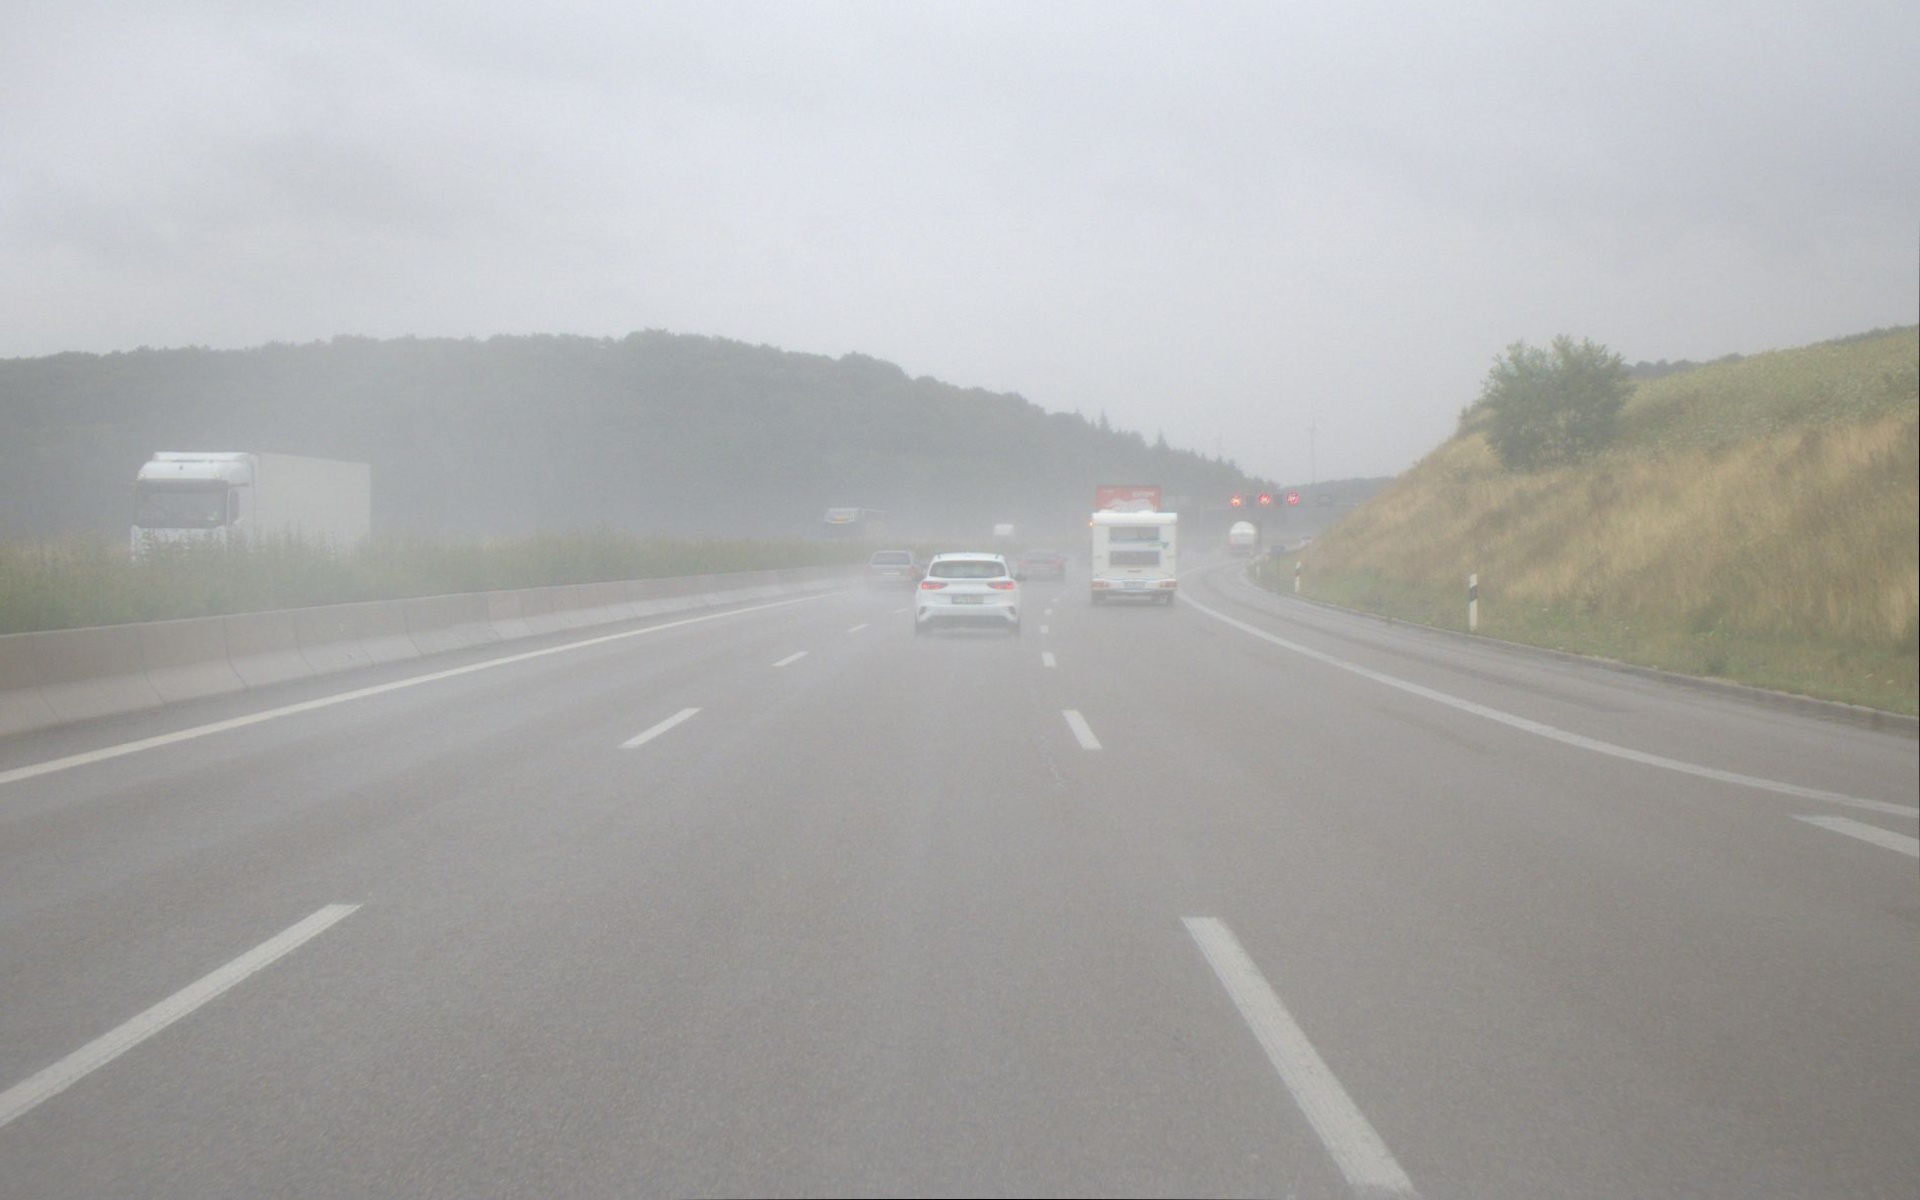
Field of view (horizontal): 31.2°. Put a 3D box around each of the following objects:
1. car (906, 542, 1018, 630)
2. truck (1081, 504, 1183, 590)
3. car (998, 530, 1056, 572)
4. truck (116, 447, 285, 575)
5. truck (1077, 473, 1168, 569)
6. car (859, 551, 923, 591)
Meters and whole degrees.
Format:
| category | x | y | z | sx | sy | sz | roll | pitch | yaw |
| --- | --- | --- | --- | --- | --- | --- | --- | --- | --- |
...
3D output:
| category | x | y | z | sx | sy | sz | roll | pitch | yaw |
| --- | --- | --- | --- | --- | --- | --- | --- | --- | --- |
| car | 0.022 | -0.239 | 59.482 | 1.867 | 1.458 | 4.000 | 0 | 0 | 0 |
| truck | 4.563 | -1.413 | 91.913 | 2.407 | 2.244 | 4.693 | 0 | 1 | -1 |
| car | 2.600 | -1.915 | 134.548 | 1.993 | 1.612 | 4.001 | 0 | 1 | -3 |
| truck | -19.162 | -2.218 | 87.012 | 2.993 | 3.113 | 5.596 | 0 | 1 | 1 |
| truck | 6.649 | -3.258 | 140.151 | 3.527 | 3.730 | 11.425 | 1 | 2 | 3 |
| car | -2.153 | -0.893 | 106.275 | 1.823 | 1.152 | 4.213 | 1 | 0 | -3 |
